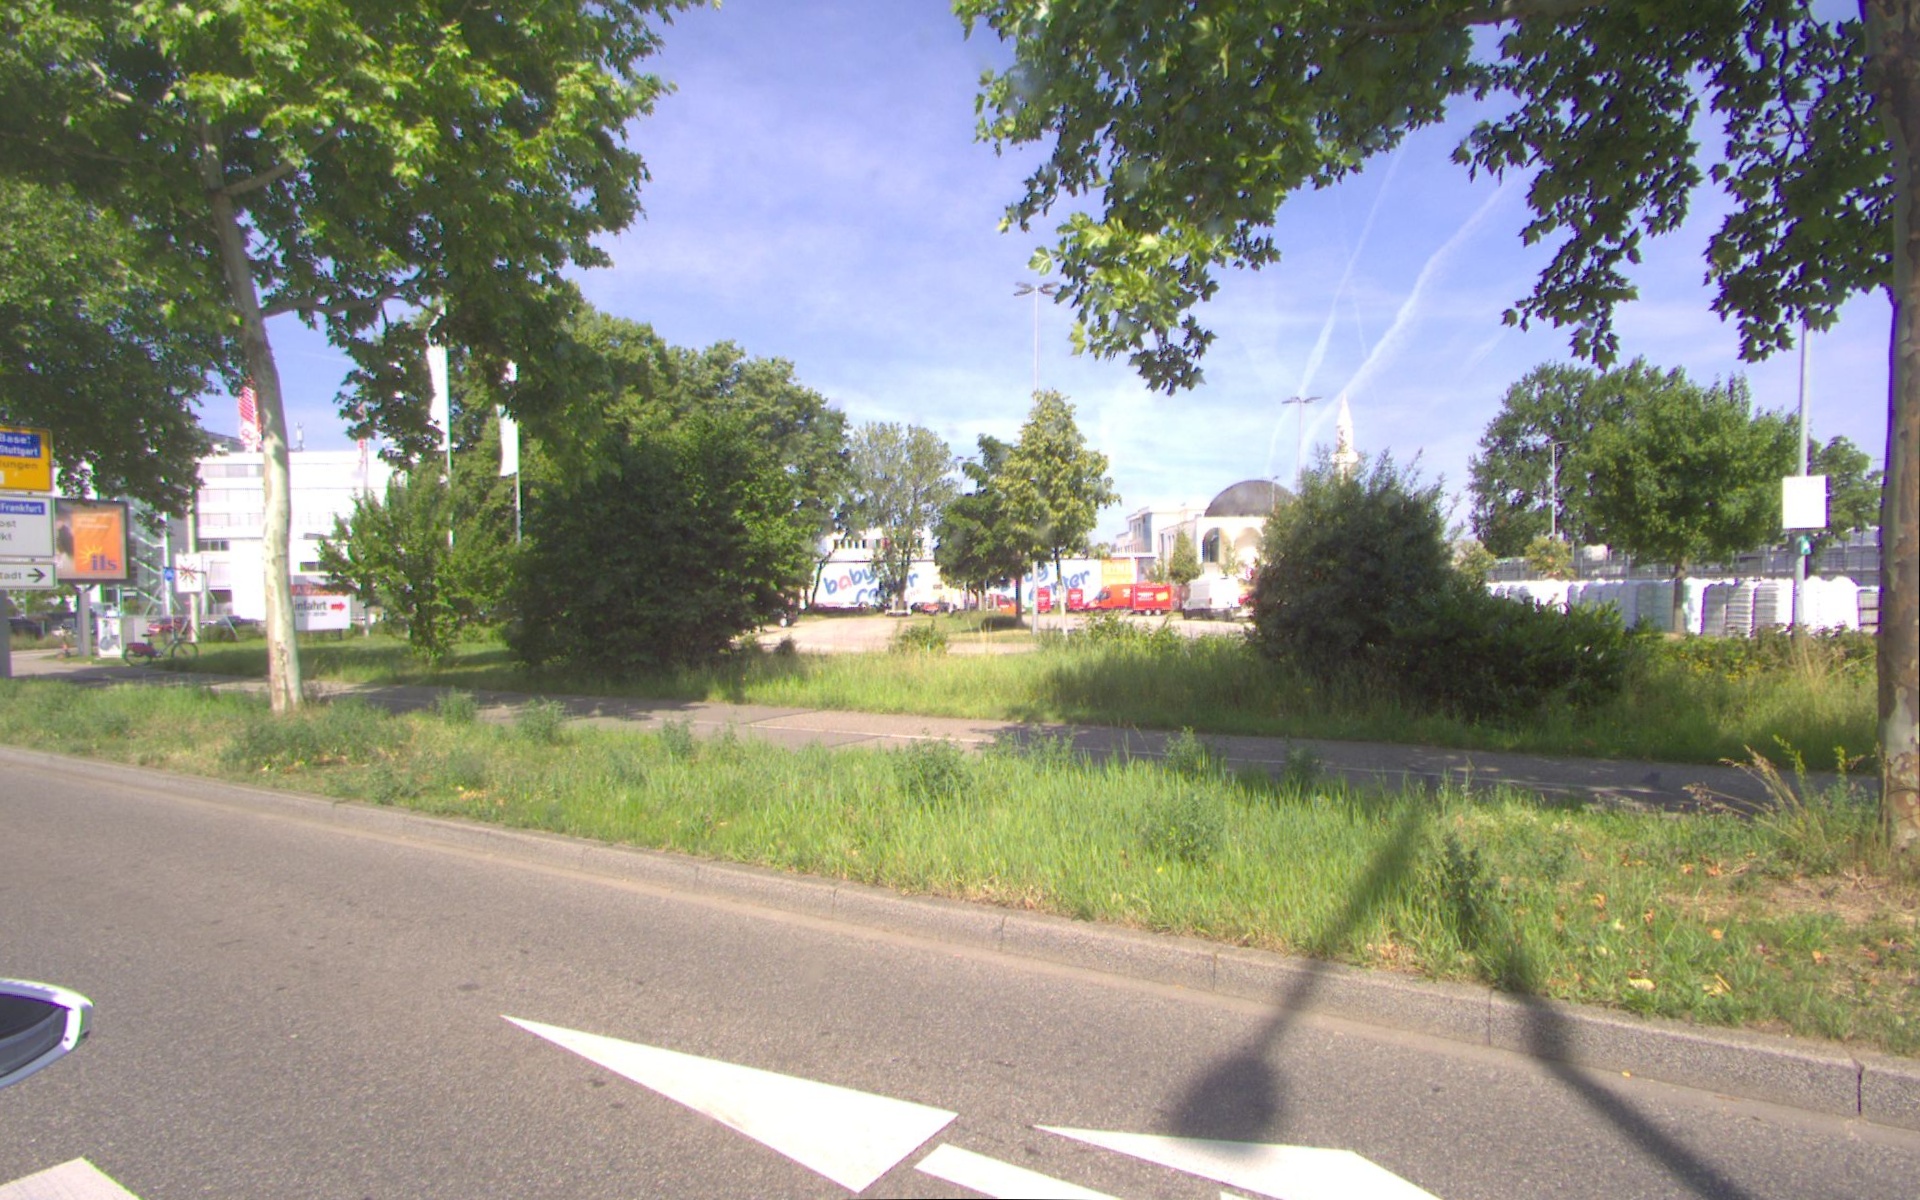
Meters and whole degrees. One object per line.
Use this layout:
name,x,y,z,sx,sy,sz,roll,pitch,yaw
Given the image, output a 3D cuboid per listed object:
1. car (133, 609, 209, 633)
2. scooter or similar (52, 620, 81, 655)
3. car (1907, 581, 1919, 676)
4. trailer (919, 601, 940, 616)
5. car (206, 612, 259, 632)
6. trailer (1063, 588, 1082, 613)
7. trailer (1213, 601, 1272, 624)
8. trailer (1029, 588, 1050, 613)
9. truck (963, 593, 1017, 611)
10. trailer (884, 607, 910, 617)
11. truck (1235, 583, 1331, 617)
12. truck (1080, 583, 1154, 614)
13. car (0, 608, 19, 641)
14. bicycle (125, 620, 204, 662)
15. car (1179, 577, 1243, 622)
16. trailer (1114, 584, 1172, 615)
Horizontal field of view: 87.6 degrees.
car,-54.004,1.416,68.635,1.747,1.463,4.625,-1,0,-4
scooter or similar,-29.897,1.236,33.505,1.107,1.141,0.423,0,1,32
car,16.440,0.471,15.245,1.820,1.606,3.849,-1,0,25
trailer,-2.934,0.812,95.657,1.560,1.304,4.409,-1,0,-7
car,-57.260,1.754,78.858,1.962,1.585,3.606,0,-2,-10
trailer,10.891,0.034,97.192,1.520,2.390,4.410,0,1,2
trailer,15.932,0.663,56.631,2.029,1.137,4.031,-3,0,-2
trailer,7.744,0.022,97.810,1.560,2.408,4.410,0,1,-1
truck,3.363,0.234,112.924,5.888,1.855,2.188,0,-2,-3
trailer,-5.949,1.122,94.908,2.059,0.792,4.411,-1,0,1
truck,21.621,0.004,67.185,5.751,2.168,2.066,-1,0,-1
truck,13.329,-0.136,85.188,5.914,2.644,2.018,0,0,-6
car,-50.141,1.274,50.134,1.879,1.711,4.625,-1,0,-4
bicycle,-23.804,1.217,29.990,1.771,1.123,0.499,-3,2,-40
car,15.514,-0.042,62.222,1.980,2.576,5.687,-3,0,-6
trailer,14.505,-0.040,79.451,4.325,2.409,1.751,0,1,0
